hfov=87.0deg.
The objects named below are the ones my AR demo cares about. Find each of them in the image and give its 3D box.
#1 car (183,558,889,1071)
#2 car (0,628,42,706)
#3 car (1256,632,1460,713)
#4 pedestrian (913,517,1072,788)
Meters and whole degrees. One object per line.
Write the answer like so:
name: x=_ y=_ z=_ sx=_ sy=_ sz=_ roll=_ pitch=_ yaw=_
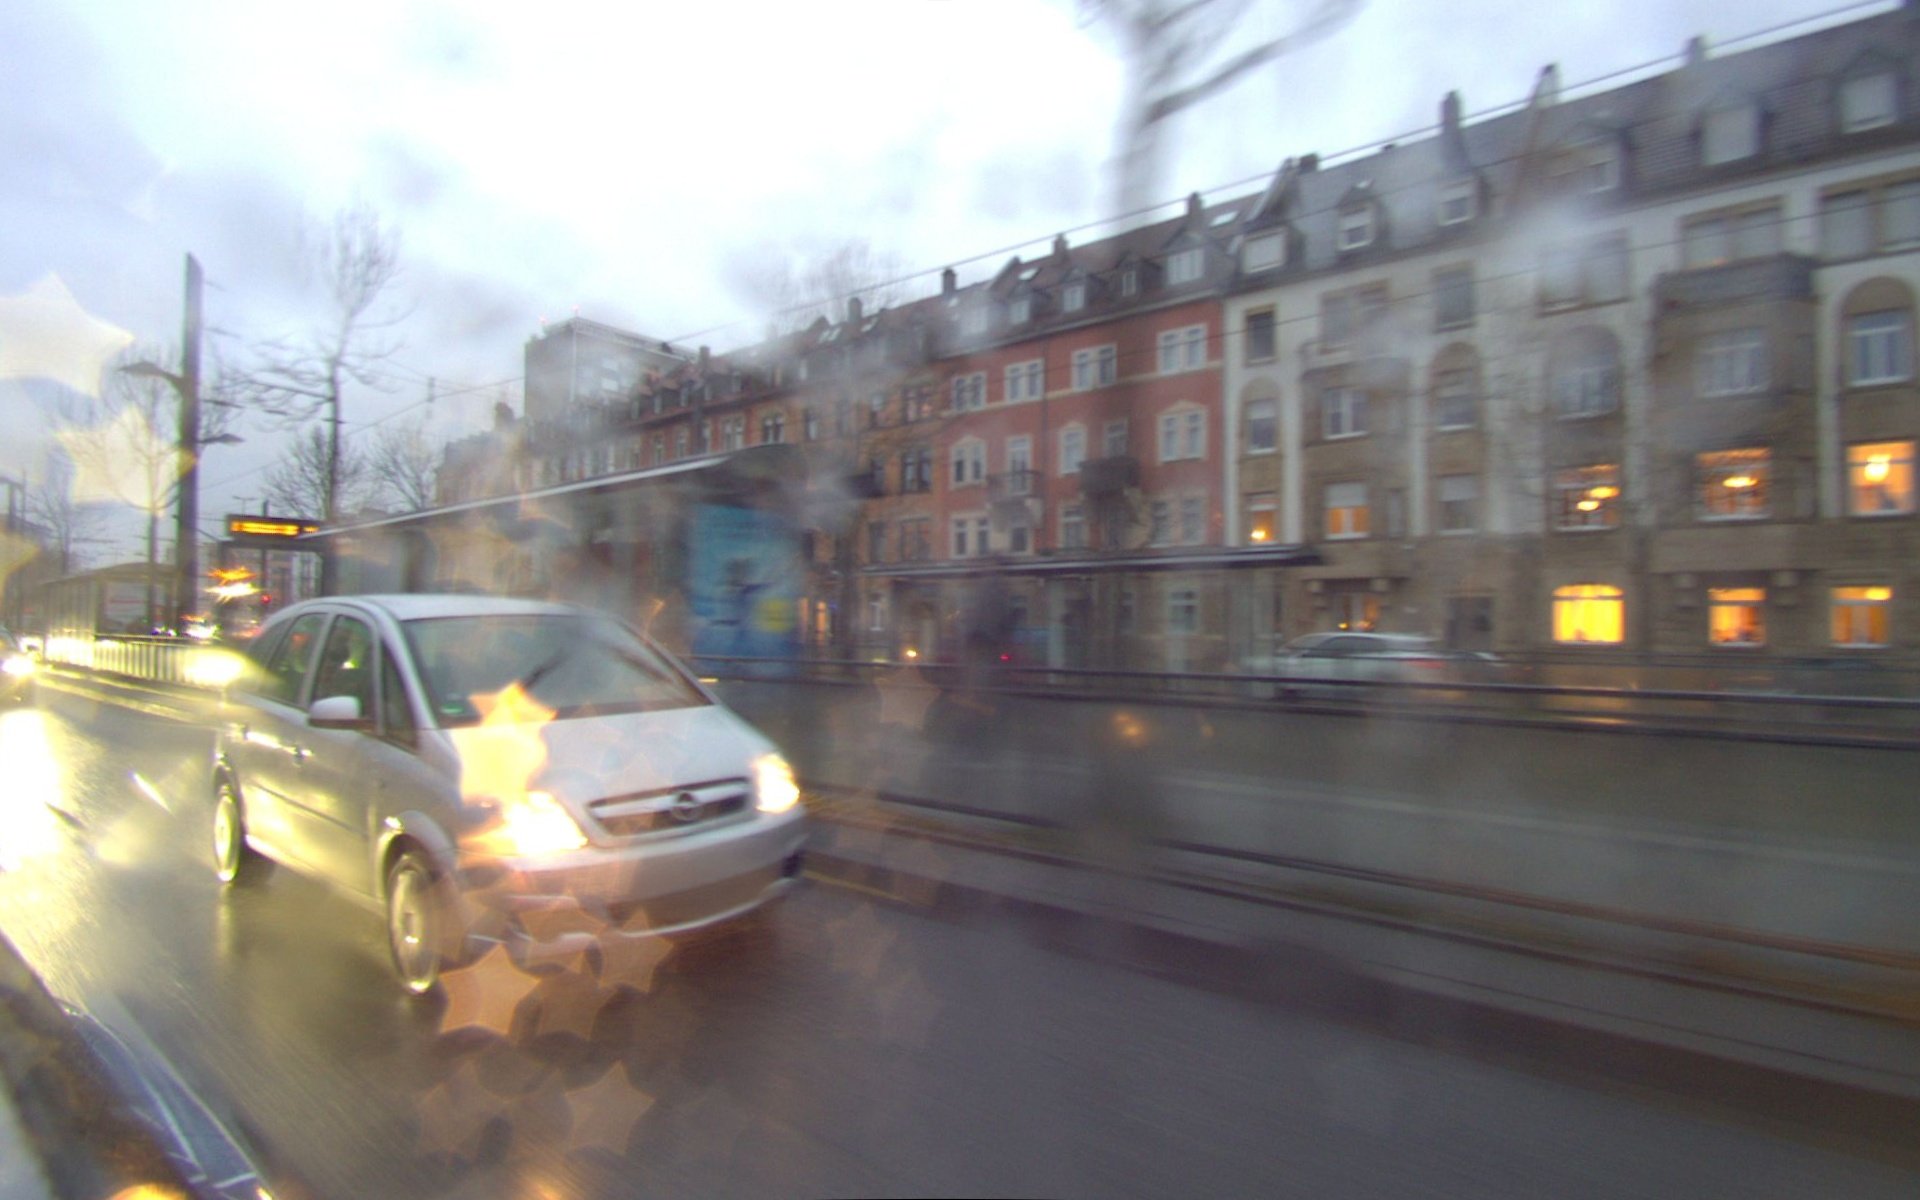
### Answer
car: x=-2.422 y=0.721 z=5.221 sx=4.052 sy=1.612 sz=1.790 roll=-2 pitch=-2 yaw=42
car: x=-19.042 y=1.250 z=19.352 sx=4.052 sy=1.403 sz=1.790 roll=-2 pitch=-2 yaw=42
car: x=8.388 y=1.490 z=21.461 sx=3.744 sy=1.546 sz=1.662 roll=-1 pitch=-4 yaw=38
pedestrian: x=0.262 y=0.420 z=8.200 sx=0.864 sy=2.029 sz=0.932 roll=4 pitch=-4 yaw=-38
